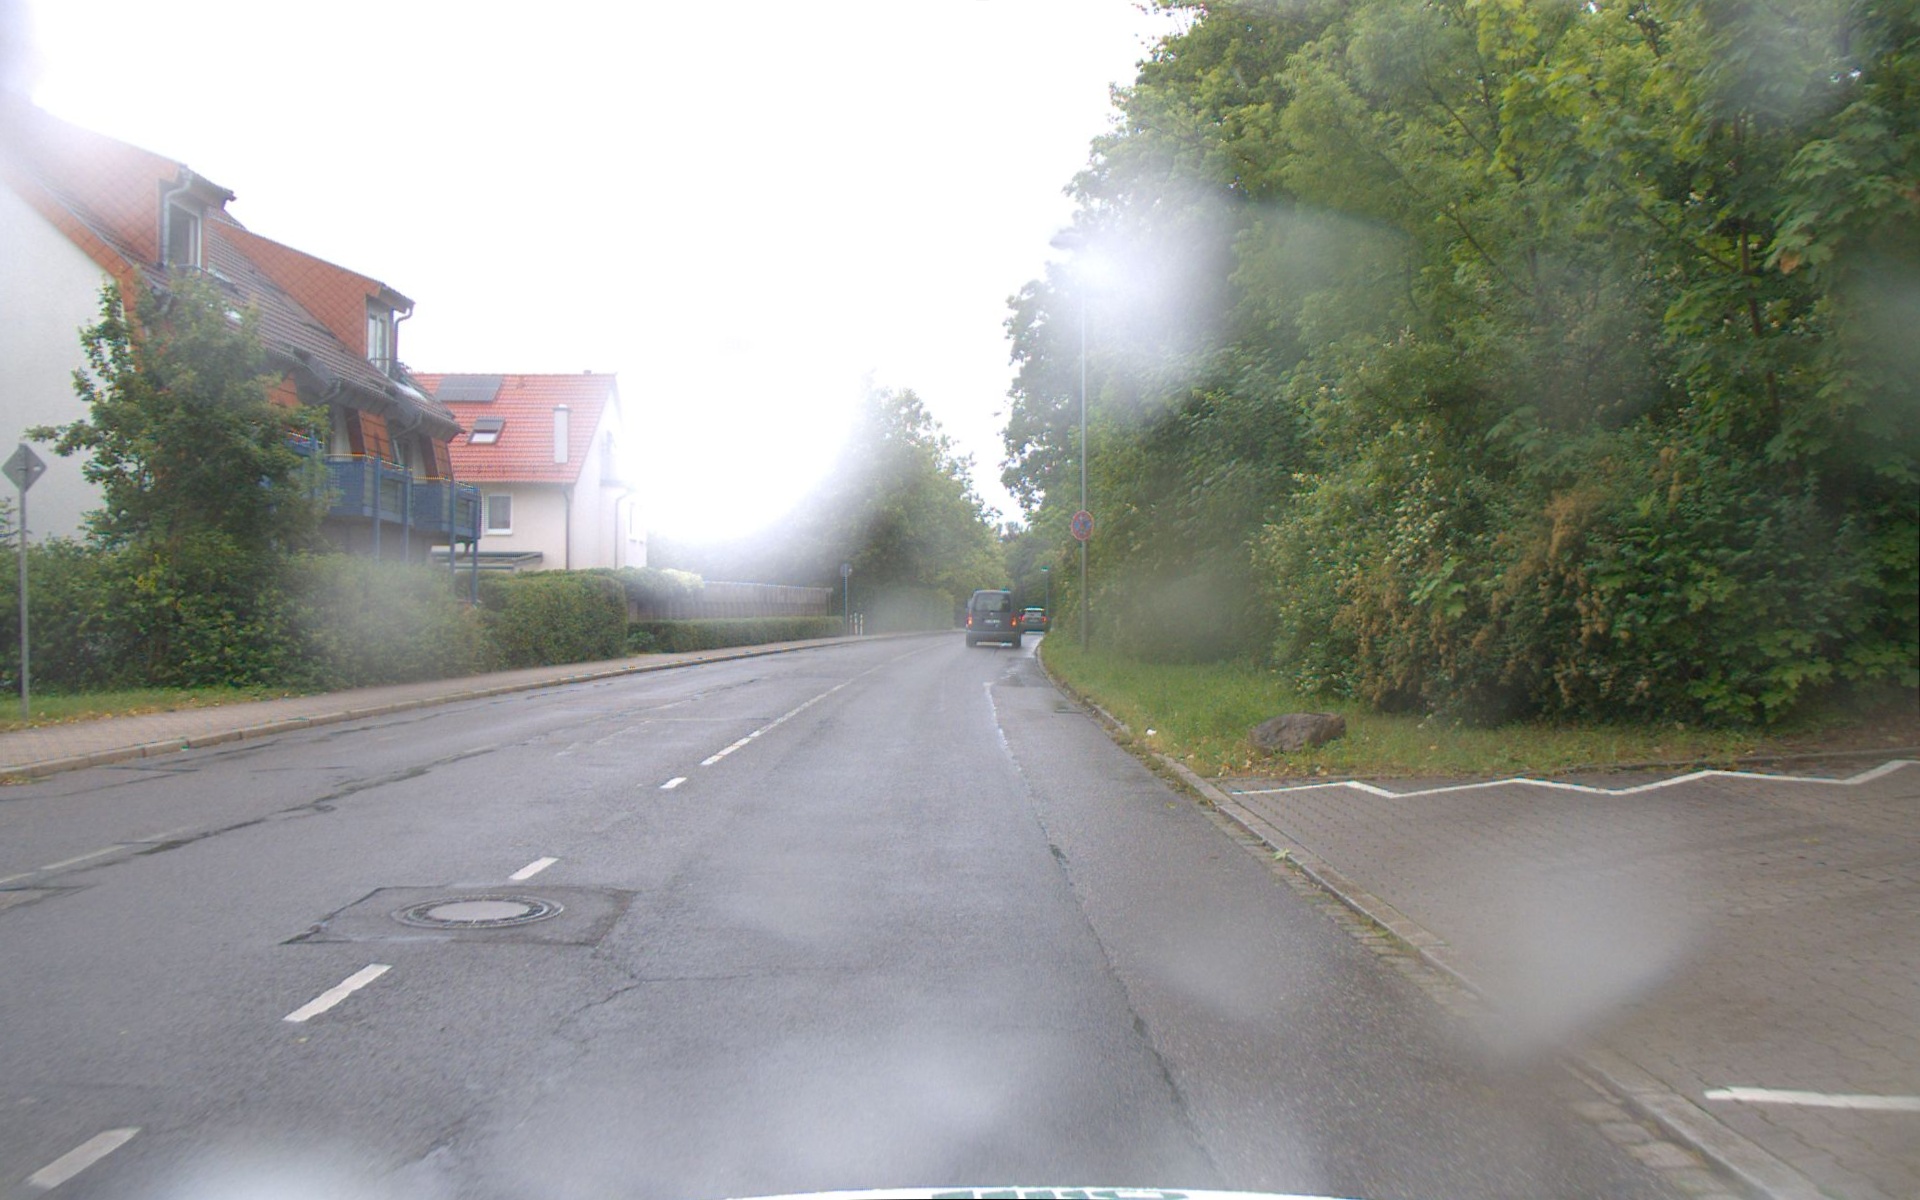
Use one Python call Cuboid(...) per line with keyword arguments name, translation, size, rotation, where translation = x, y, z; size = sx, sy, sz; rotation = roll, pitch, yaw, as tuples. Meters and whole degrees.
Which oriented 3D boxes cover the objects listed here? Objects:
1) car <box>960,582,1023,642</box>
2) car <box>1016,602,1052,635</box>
Cuboid(name="car", translation=(1.063, 0.369, 55.025), size=(1.952, 1.825, 4.001), rotation=(2, 1, 1))
Cuboid(name="car", translation=(4.287, 1.034, 95.337), size=(1.909, 1.780, 4.002), rotation=(0, 0, 4))
